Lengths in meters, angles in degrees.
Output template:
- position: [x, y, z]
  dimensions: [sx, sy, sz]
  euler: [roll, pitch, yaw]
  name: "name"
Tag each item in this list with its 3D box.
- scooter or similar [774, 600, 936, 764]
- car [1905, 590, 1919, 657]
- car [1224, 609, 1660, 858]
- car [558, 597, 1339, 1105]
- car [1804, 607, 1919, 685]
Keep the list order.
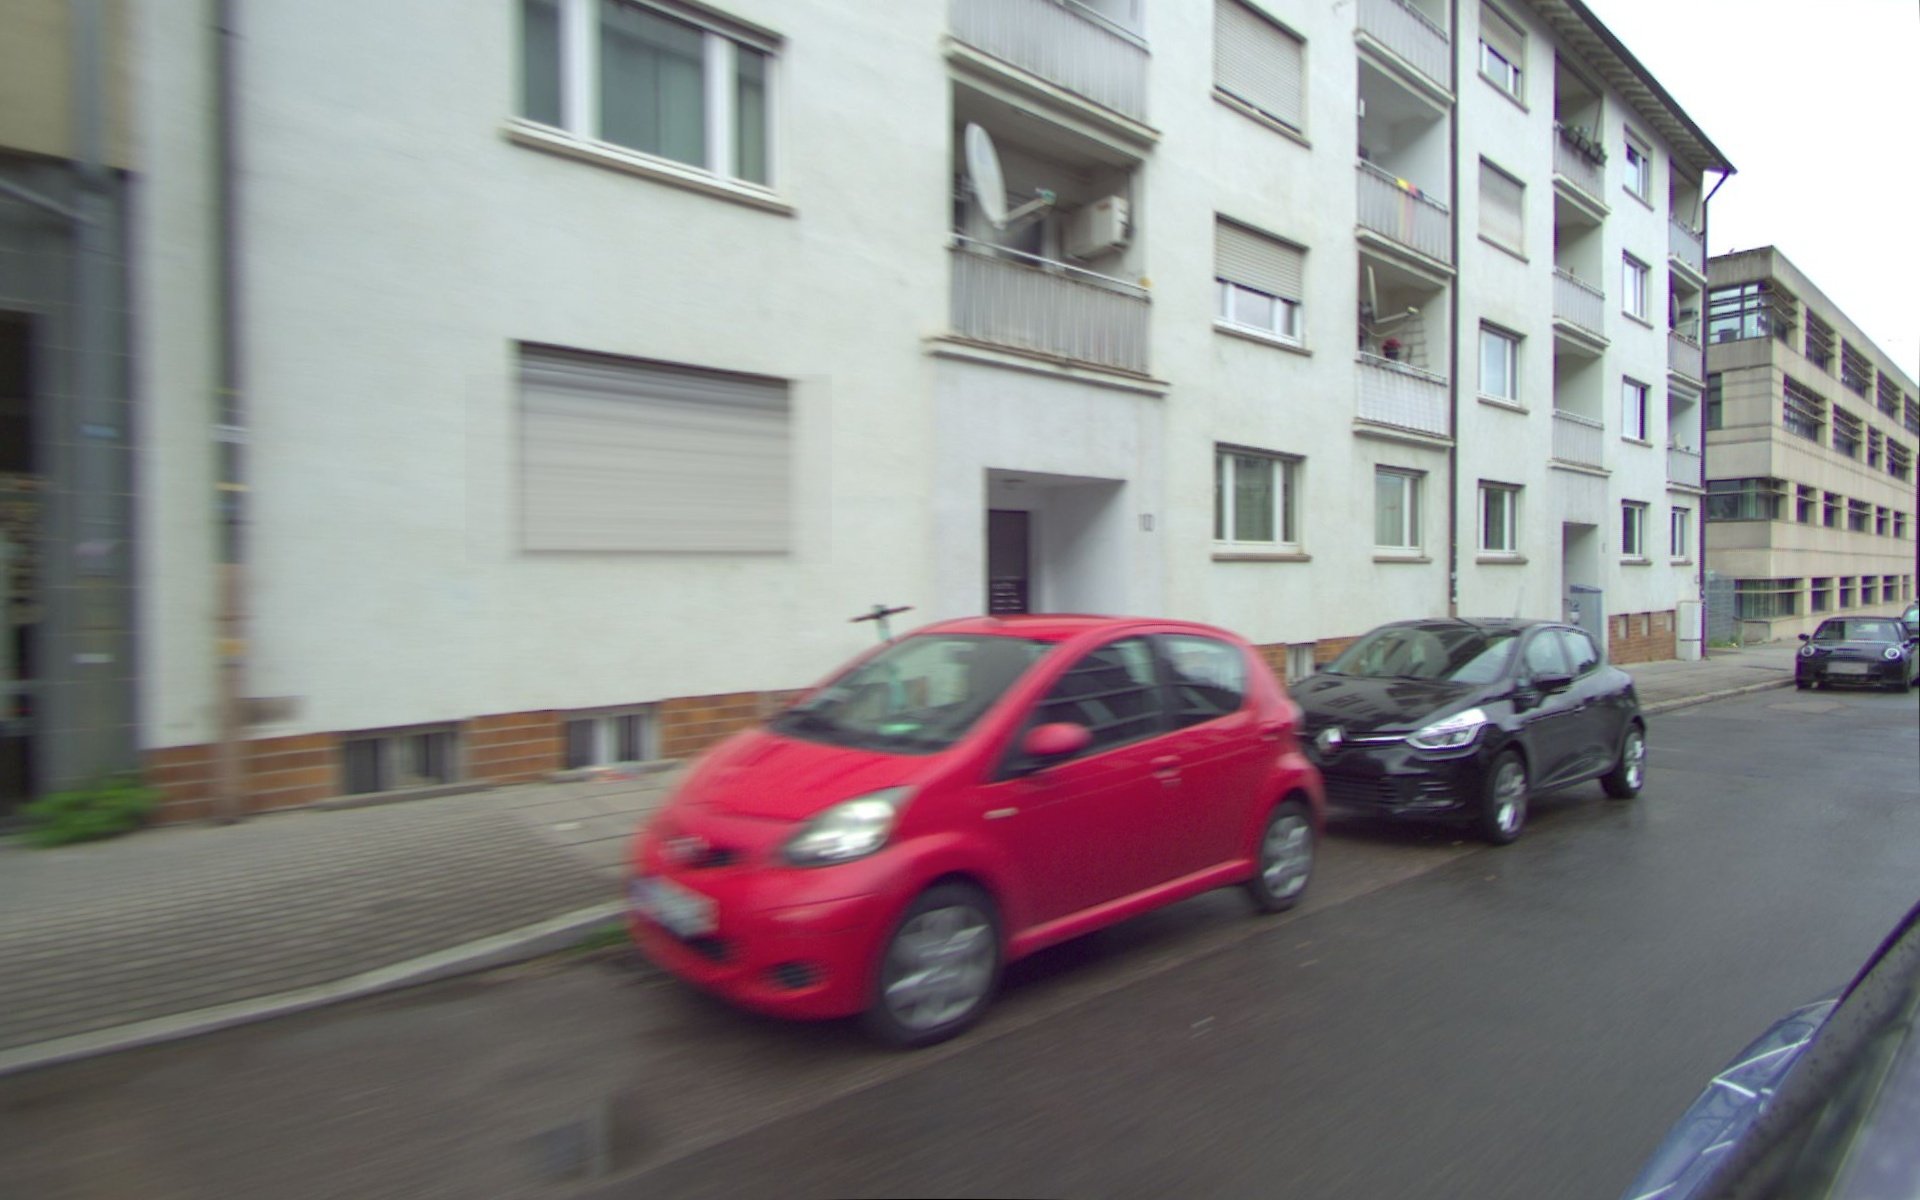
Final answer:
- position: [-0.840, 0.624, 8.275]
  dimensions: [1.297, 1.247, 0.444]
  euler: [1, -1, -40]
  name: "scooter or similar"
- position: [29.507, 0.675, 29.816]
  dimensions: [4.666, 1.900, 1.910]
  euler: [0, -1, -40]
  name: "car"
- position: [3.796, 0.791, 7.710]
  dimensions: [3.711, 1.429, 1.629]
  euler: [0, -1, -40]
  name: "car"
- position: [0.149, 0.737, 4.710]
  dimensions: [3.424, 1.475, 1.628]
  euler: [0, -1, -42]
  name: "car"
- position: [18.511, 0.858, 20.436]
  dimensions: [3.711, 1.429, 1.629]
  euler: [0, -1, -40]
  name: "car"
